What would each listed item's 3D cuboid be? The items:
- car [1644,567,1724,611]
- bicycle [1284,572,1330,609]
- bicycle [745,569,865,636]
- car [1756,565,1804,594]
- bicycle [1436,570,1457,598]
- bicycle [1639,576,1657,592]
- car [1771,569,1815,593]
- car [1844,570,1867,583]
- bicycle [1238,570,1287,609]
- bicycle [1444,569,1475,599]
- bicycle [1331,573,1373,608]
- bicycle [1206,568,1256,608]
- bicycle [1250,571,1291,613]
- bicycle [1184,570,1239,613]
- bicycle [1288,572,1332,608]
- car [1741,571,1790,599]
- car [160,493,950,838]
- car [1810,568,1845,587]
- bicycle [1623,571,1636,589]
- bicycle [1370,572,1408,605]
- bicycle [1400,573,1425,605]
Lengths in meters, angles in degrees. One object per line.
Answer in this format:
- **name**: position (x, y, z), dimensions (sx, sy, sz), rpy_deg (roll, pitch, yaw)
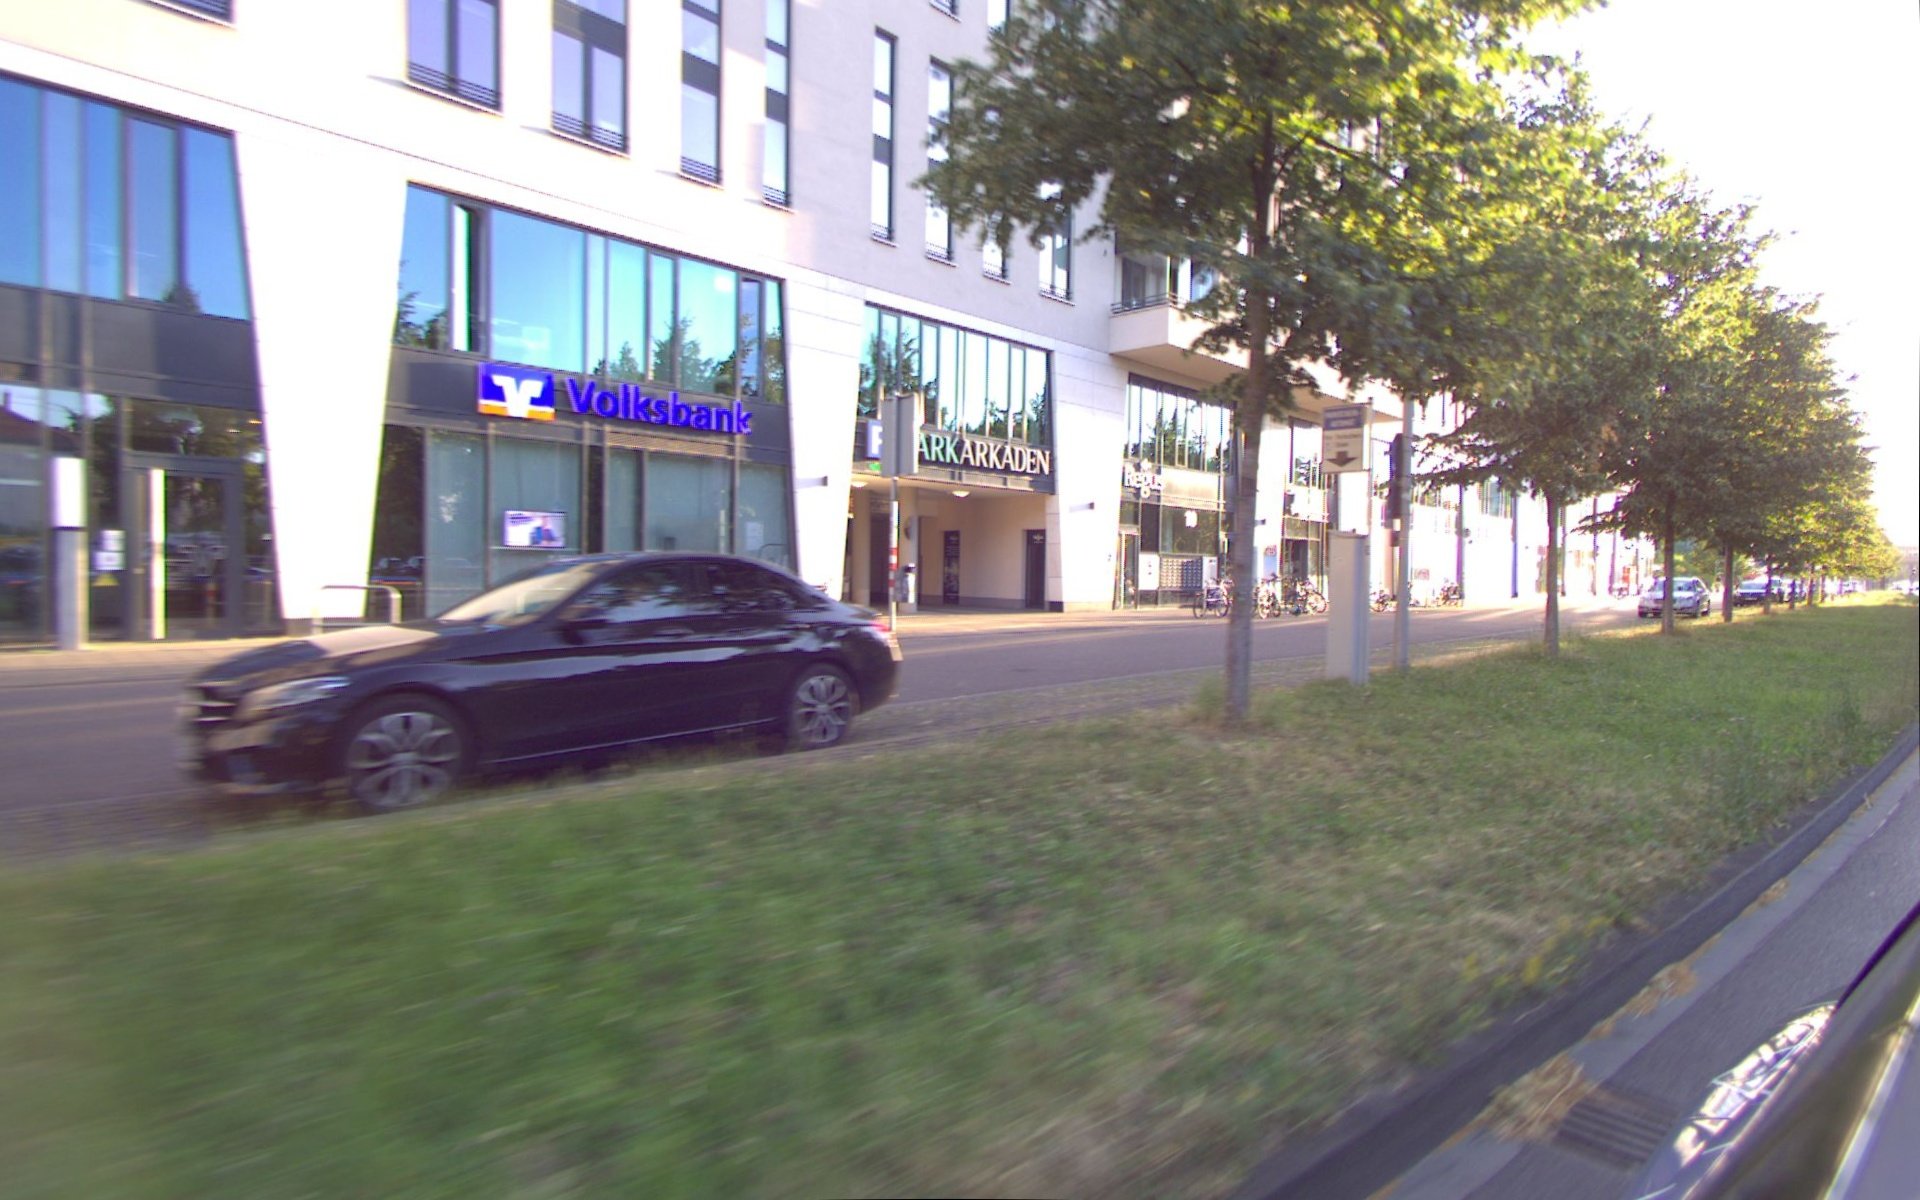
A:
- **car**: position (27.203, -0.448, 37.973), dimensions (1.808, 1.519, 4.750), rpy_deg (2, 2, 43)
- **bicycle**: position (10.524, -0.301, 30.672), dimensions (0.533, 1.073, 1.827), rpy_deg (5, 4, 44)
- **bicycle**: position (-2.580, 0.011, 17.035), dimensions (0.653, 1.051, 2.022), rpy_deg (2, 2, 44)
- **car**: position (50.421, -1.250, 62.191), dimensions (1.953, 1.644, 4.746), rpy_deg (-1, 0, 43)
- **bicycle**: position (19.792, -0.665, 41.171), dimensions (0.531, 1.073, 1.836), rpy_deg (4, 3, 31)
- **bicycle**: position (46.312, -1.053, 68.122), dimensions (0.620, 1.046, 2.227), rpy_deg (2, 3, 43)
- **car**: position (55.451, -1.263, 67.336), dimensions (1.921, 1.519, 4.932), rpy_deg (2, 2, 43)
- **car**: position (107.876, -2.820, 121.879), dimensions (1.919, 1.519, 5.327), rpy_deg (2, 2, 43)
- **bicycle**: position (8.654, -0.316, 28.929), dimensions (0.533, 1.074, 1.827), rpy_deg (2, 2, 44)
- **bicycle**: position (20.165, -0.639, 40.840), dimensions (0.538, 1.178, 1.752), rpy_deg (5, 4, 44)
- **bicycle**: position (12.734, -0.318, 32.856), dimensions (0.533, 1.073, 1.827), rpy_deg (5, 4, 44)
- **bicycle**: position (7.700, -0.355, 28.707), dimensions (0.533, 1.073, 1.827), rpy_deg (5, 4, 44)
- **bicycle**: position (8.539, -0.240, 27.797), dimensions (0.531, 1.073, 1.759), rpy_deg (4, 3, 34)
- **bicycle**: position (6.679, -0.230, 26.827), dimensions (0.533, 1.073, 1.827), rpy_deg (5, 4, 44)
- **bicycle**: position (11.095, -0.317, 32.036), dimensions (0.533, 1.073, 1.827), rpy_deg (5, 4, 44)
- **car**: position (45.369, -0.845, 56.972), dimensions (1.724, 1.519, 4.165), rpy_deg (1, 1, 44)
- **car**: position (-2.378, 0.218, 7.023), dimensions (1.943, 1.568, 4.739), rpy_deg (2, 3, 42)
- **car**: position (76.617, -1.948, 89.347), dimensions (4.294, 1.518, 1.812), rpy_deg (-1, 5, -43)
- **bicycle**: position (42.548, -1.274, 64.306), dimensions (0.532, 1.072, 1.590), rpy_deg (2, 2, 38)
- **bicycle**: position (14.681, -0.389, 34.606), dimensions (0.533, 1.073, 1.827), rpy_deg (5, 4, 44)
- **bicycle**: position (15.922, -0.395, 35.578), dimensions (0.531, 1.073, 1.836), rpy_deg (4, 3, 31)
